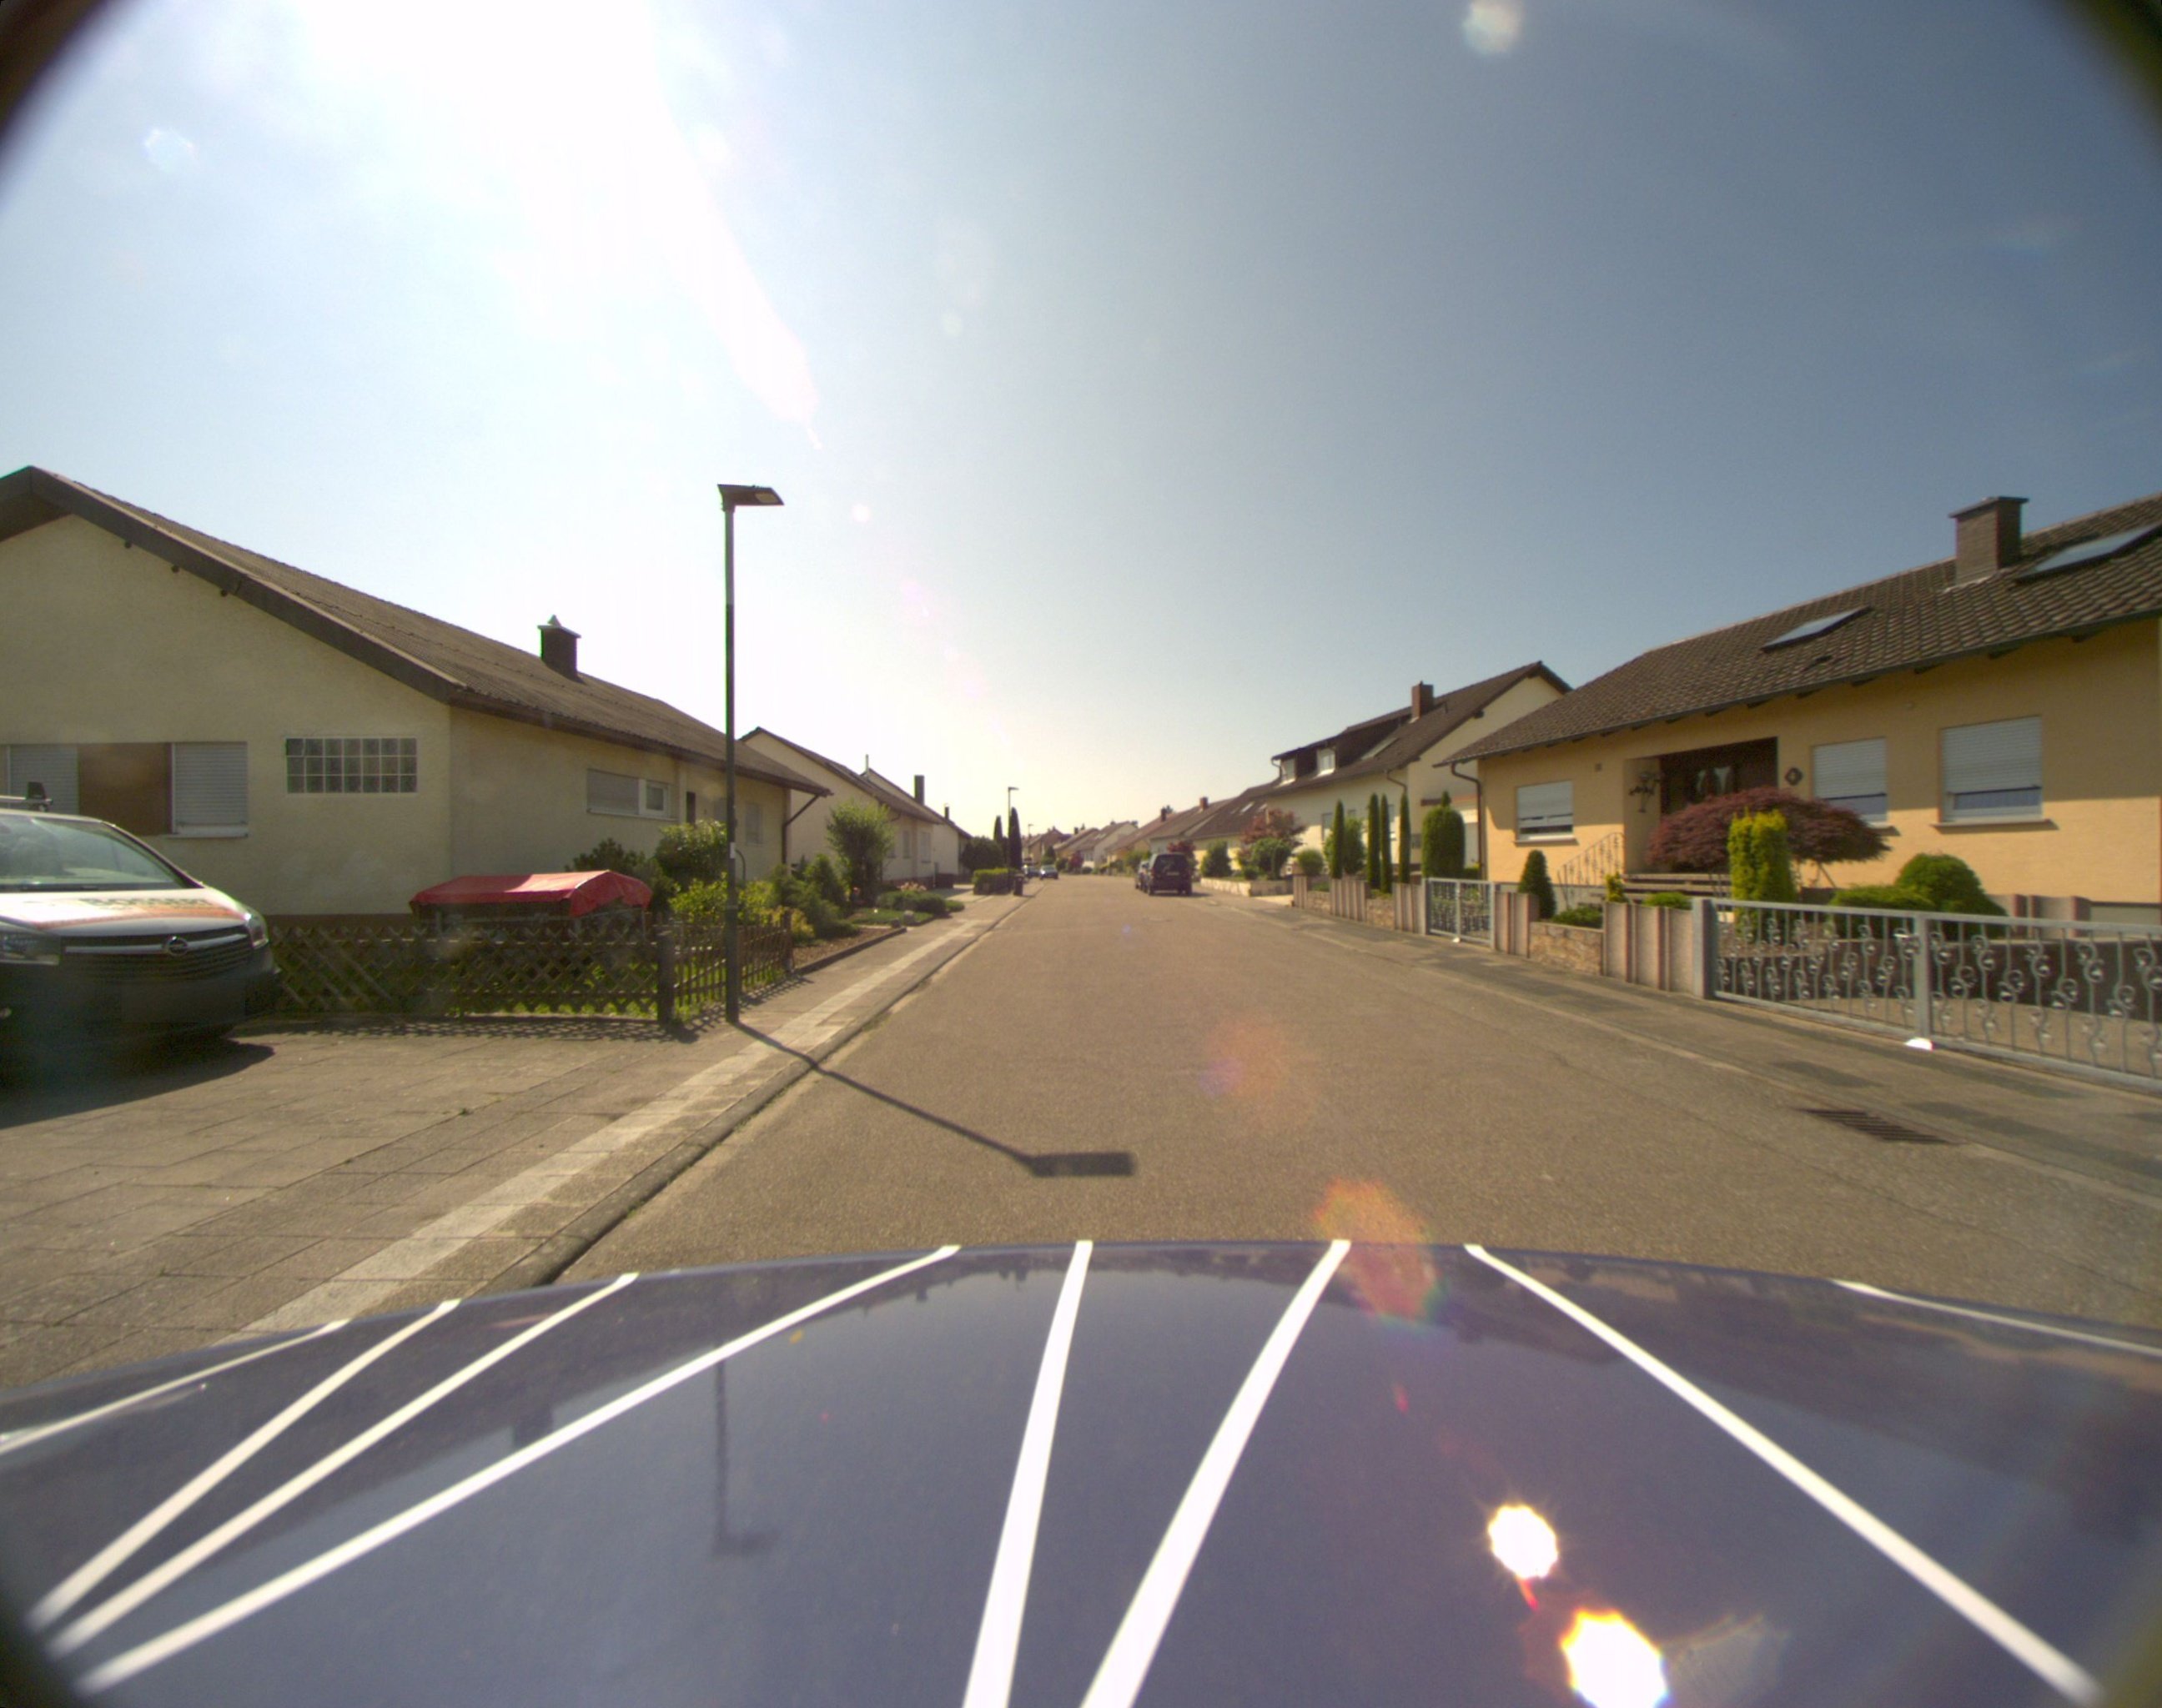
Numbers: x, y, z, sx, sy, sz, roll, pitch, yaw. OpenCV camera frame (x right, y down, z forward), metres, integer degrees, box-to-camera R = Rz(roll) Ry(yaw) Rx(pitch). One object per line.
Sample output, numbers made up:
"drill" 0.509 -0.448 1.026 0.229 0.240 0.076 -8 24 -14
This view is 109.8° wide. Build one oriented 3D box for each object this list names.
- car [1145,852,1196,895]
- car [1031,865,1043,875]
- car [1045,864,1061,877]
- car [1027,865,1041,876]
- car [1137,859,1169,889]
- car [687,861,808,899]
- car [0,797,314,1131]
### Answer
"car" 3.812 0.803 32.938 1.769 1.767 3.652 -1 0 0
"car" -5.828 2.101 100.333 1.459 1.270 3.102 0 0 -5
"car" -2.836 1.643 77.517 1.459 1.270 3.102 0 0 -6
"car" -5.560 1.960 90.137 1.460 1.270 3.101 0 0 -7
"car" 3.599 0.995 38.305 1.305 1.415 3.103 -1 0 0
"car" -12.962 0.989 29.756 3.999 1.414 1.693 0 0 -5
"car" -8.966 0.656 5.506 5.008 2.002 1.868 0 0 2
